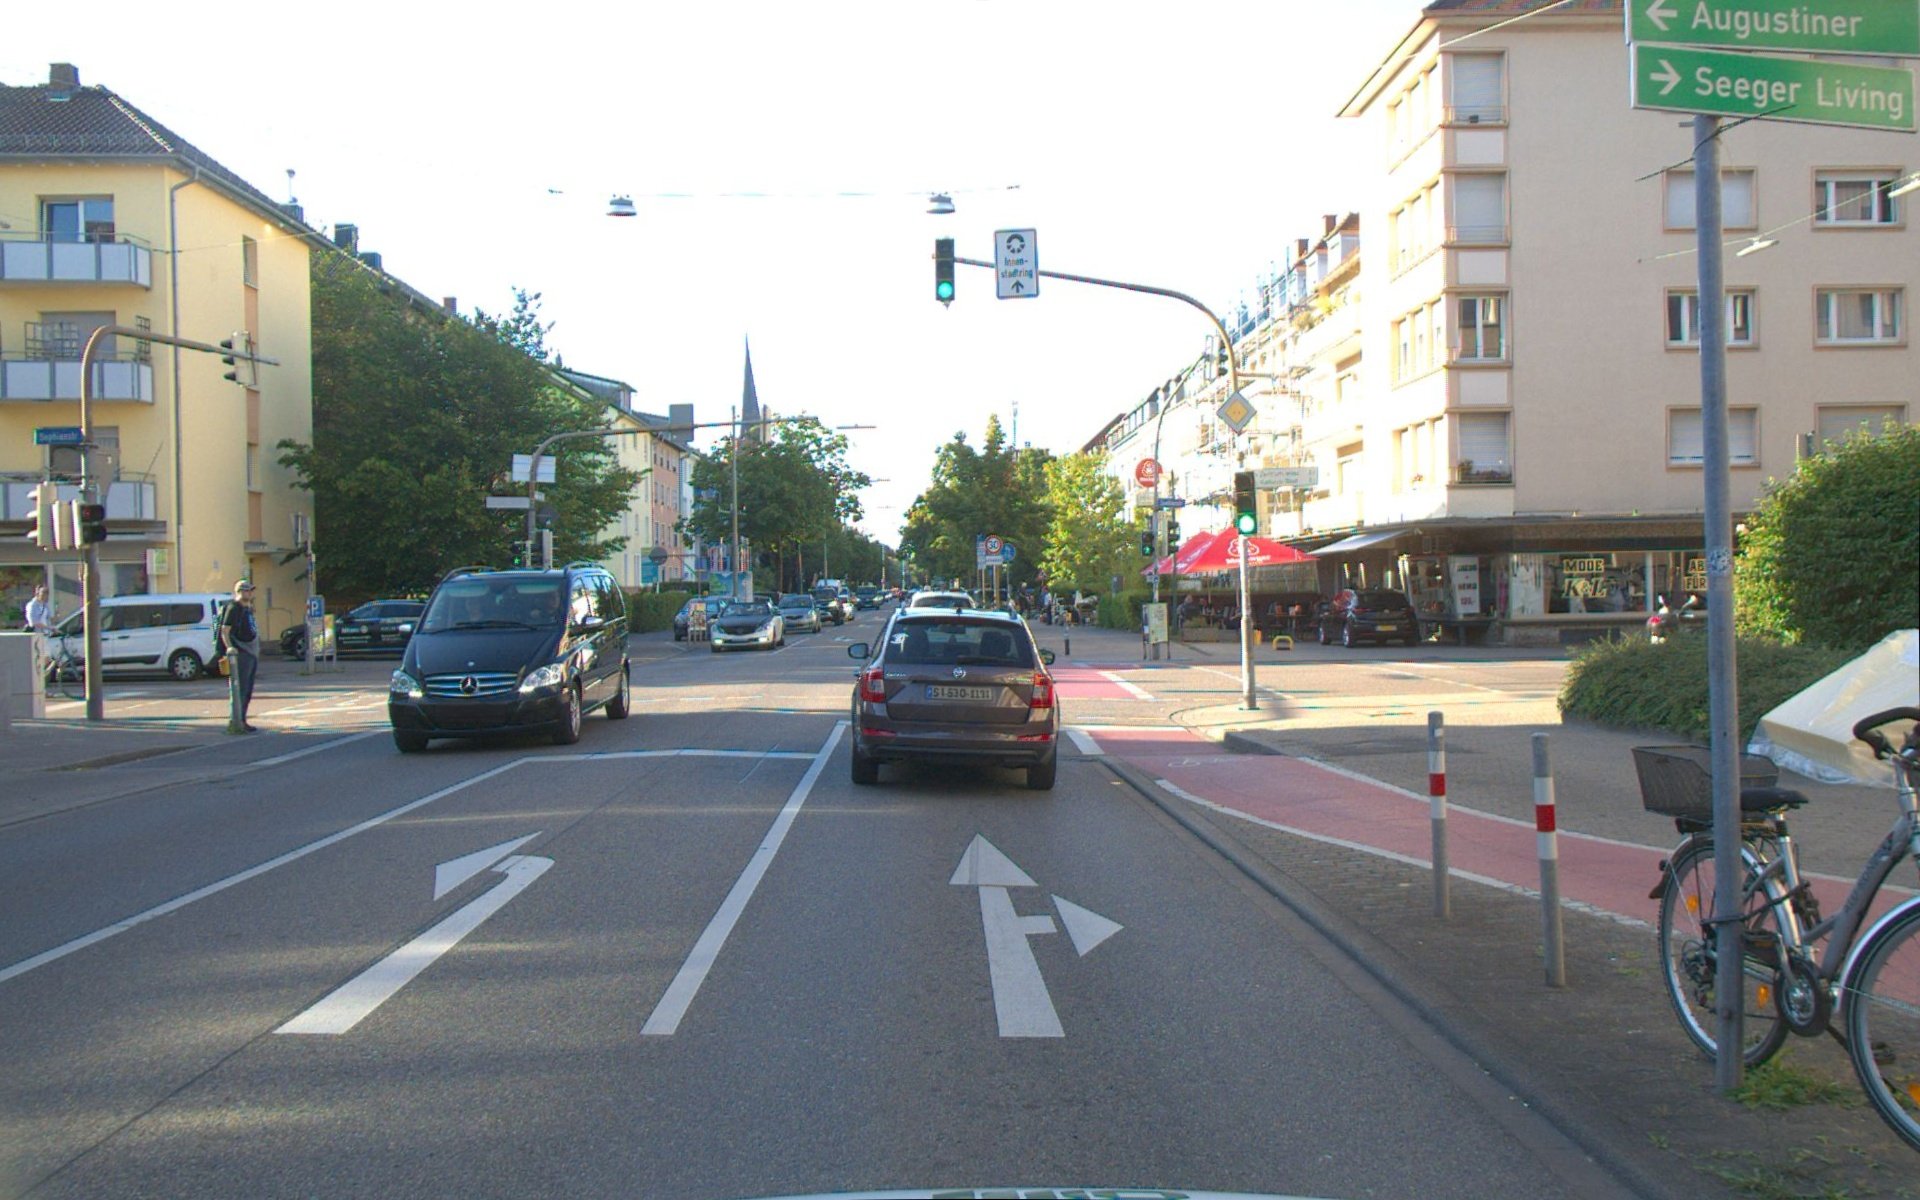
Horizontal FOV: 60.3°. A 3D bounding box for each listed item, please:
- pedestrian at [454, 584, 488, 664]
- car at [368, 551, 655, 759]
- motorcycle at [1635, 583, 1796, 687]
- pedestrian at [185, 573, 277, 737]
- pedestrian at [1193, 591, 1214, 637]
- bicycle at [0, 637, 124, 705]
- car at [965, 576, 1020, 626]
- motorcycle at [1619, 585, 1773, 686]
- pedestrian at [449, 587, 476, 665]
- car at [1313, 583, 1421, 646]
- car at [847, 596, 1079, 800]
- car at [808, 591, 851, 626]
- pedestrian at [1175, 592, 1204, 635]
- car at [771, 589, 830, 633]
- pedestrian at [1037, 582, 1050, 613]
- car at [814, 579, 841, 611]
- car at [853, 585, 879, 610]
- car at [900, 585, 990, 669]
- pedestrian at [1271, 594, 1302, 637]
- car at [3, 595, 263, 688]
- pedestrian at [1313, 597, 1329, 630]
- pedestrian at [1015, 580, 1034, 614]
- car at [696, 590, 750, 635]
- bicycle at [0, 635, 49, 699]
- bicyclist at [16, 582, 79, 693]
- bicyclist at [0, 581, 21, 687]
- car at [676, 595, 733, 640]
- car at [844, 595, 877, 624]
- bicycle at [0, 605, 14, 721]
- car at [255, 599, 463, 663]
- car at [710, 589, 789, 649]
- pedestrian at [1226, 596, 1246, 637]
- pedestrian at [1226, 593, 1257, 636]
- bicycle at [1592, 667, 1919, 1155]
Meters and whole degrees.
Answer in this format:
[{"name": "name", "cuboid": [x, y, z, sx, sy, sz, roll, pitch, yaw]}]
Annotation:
[{"name": "pedestrian", "cuboid": [-11.437, 0.559, 38.719, 0.603, 1.828, 0.504, -1, 0, -1]}, {"name": "car", "cuboid": [-4.863, 0.529, 18.744, 1.954, 1.942, 4.962, -3, 0, -2]}, {"name": "motorcycle", "cuboid": [10.404, 0.474, 22.817, 1.874, 1.385, 0.694, -1, 0, 3]}, {"name": "pedestrian", "cuboid": [-9.258, 0.683, 21.027, 0.764, 2.022, 0.821, -1, 0, -1]}, {"name": "pedestrian", "cuboid": [7.113, 0.411, 48.310, 0.489, 1.325, 0.506, -1, 0, -4]}, {"name": "bicycle", "cuboid": [-15.463, 1.204, 28.343, 1.866, 1.090, 0.717, -1, 0, -11]}, {"name": "car", "cuboid": [1.231, 0.042, 62.409, 1.952, 1.803, 4.001, 1, 0, 1]}, {"name": "motorcycle", "cuboid": [10.529, 0.504, 23.712, 1.874, 1.385, 0.694, -1, 0, 3]}, {"name": "pedestrian", "cuboid": [-11.771, 0.609, 39.129, 0.440, 1.828, 0.504, -1, 0, -1]}, {"name": "car", "cuboid": [10.407, 0.355, 42.568, 1.740, 1.512, 3.999, -1, 0, -1]}, {"name": "car", "cuboid": [-0.048, 0.731, 14.582, 1.737, 1.515, 4.309, 0, 0, -2]}, {"name": "car", "cuboid": [-6.255, 0.400, 79.508, 1.751, 1.598, 3.999, 1, 0, -1]}, {"name": "pedestrian", "cuboid": [6.567, 0.379, 47.321, 0.664, 1.219, 0.855, -1, 0, -1]}, {"name": "car", "cuboid": [-6.297, 0.406, 65.705, 1.953, 1.639, 3.999, -1, 0, -1]}, {"name": "pedestrian", "cuboid": [4.270, -0.115, 84.686, 0.567, 1.590, 0.518, -1, 0, -11]}, {"name": "car", "cuboid": [-10.730, -0.438, 134.190, 1.953, 2.521, 3.999, -1, 0, -2]}, {"name": "car", "cuboid": [-7.936, -0.251, 139.718, 1.953, 2.049, 3.999, -1, 0, -1]}, {"name": "car", "cuboid": [-0.310, 0.517, 33.935, 1.701, 1.598, 3.999, 1, 0, -1]}, {"name": "pedestrian", "cuboid": [9.441, 0.429, 47.822, 0.714, 1.219, 0.855, -1, 0, -1]}, {"name": "car", "cuboid": [-17.583, 0.858, 35.321, 4.541, 1.843, 1.861, -1, 0, -2]}, {"name": "pedestrian", "cuboid": [11.346, 0.425, 51.995, 0.364, 1.013, 0.522, -1, 0, -1]}, {"name": "pedestrian", "cuboid": [3.291, -0.151, 84.211, 0.661, 1.734, 0.800, -1, 0, 25]}, {"name": "car", "cuboid": [-9.030, 0.467, 63.243, 1.528, 1.646, 3.999, -1, 0, -1]}, {"name": "bicycle", "cuboid": [-17.181, 1.187, 29.088, 1.866, 1.090, 0.717, -1, 0, -11]}, {"name": "bicyclist", "cuboid": [-15.602, 0.626, 28.284, 0.725, 1.855, 0.652, -1, 0, -10]}, {"name": "bicyclist", "cuboid": [-17.063, 0.599, 29.105, 0.725, 1.855, 0.652, -1, 0, -10]}, {"name": "car", "cuboid": [-8.897, 0.595, 57.836, 1.492, 1.482, 3.584, -1, 0, -1]}, {"name": "car", "cuboid": [-5.642, 0.526, 94.271, 1.669, 1.577, 4.001, -1, 0, -1]}, {"name": "bicycle", "cuboid": [-15.410, 0.968, 24.779, 1.982, 1.736, 0.756, -1, 0, -4]}, {"name": "car", "cuboid": [-15.042, 0.750, 41.545, 4.541, 1.562, 1.861, 0, 0, -2]}, {"name": "car", "cuboid": [-5.972, 0.510, 47.242, 1.793, 1.607, 3.999, -1, 0, -1]}, {"name": "pedestrian", "cuboid": [8.121, 0.494, 48.689, 0.495, 1.197, 0.428, -1, 0, -2]}, {"name": "pedestrian", "cuboid": [8.088, 0.402, 47.566, 0.714, 1.219, 0.855, -1, 0, -1]}, {"name": "bicycle", "cuboid": [2.604, 0.829, 4.837, 0.492, 1.167, 1.956, -3, 0, -7]}]
